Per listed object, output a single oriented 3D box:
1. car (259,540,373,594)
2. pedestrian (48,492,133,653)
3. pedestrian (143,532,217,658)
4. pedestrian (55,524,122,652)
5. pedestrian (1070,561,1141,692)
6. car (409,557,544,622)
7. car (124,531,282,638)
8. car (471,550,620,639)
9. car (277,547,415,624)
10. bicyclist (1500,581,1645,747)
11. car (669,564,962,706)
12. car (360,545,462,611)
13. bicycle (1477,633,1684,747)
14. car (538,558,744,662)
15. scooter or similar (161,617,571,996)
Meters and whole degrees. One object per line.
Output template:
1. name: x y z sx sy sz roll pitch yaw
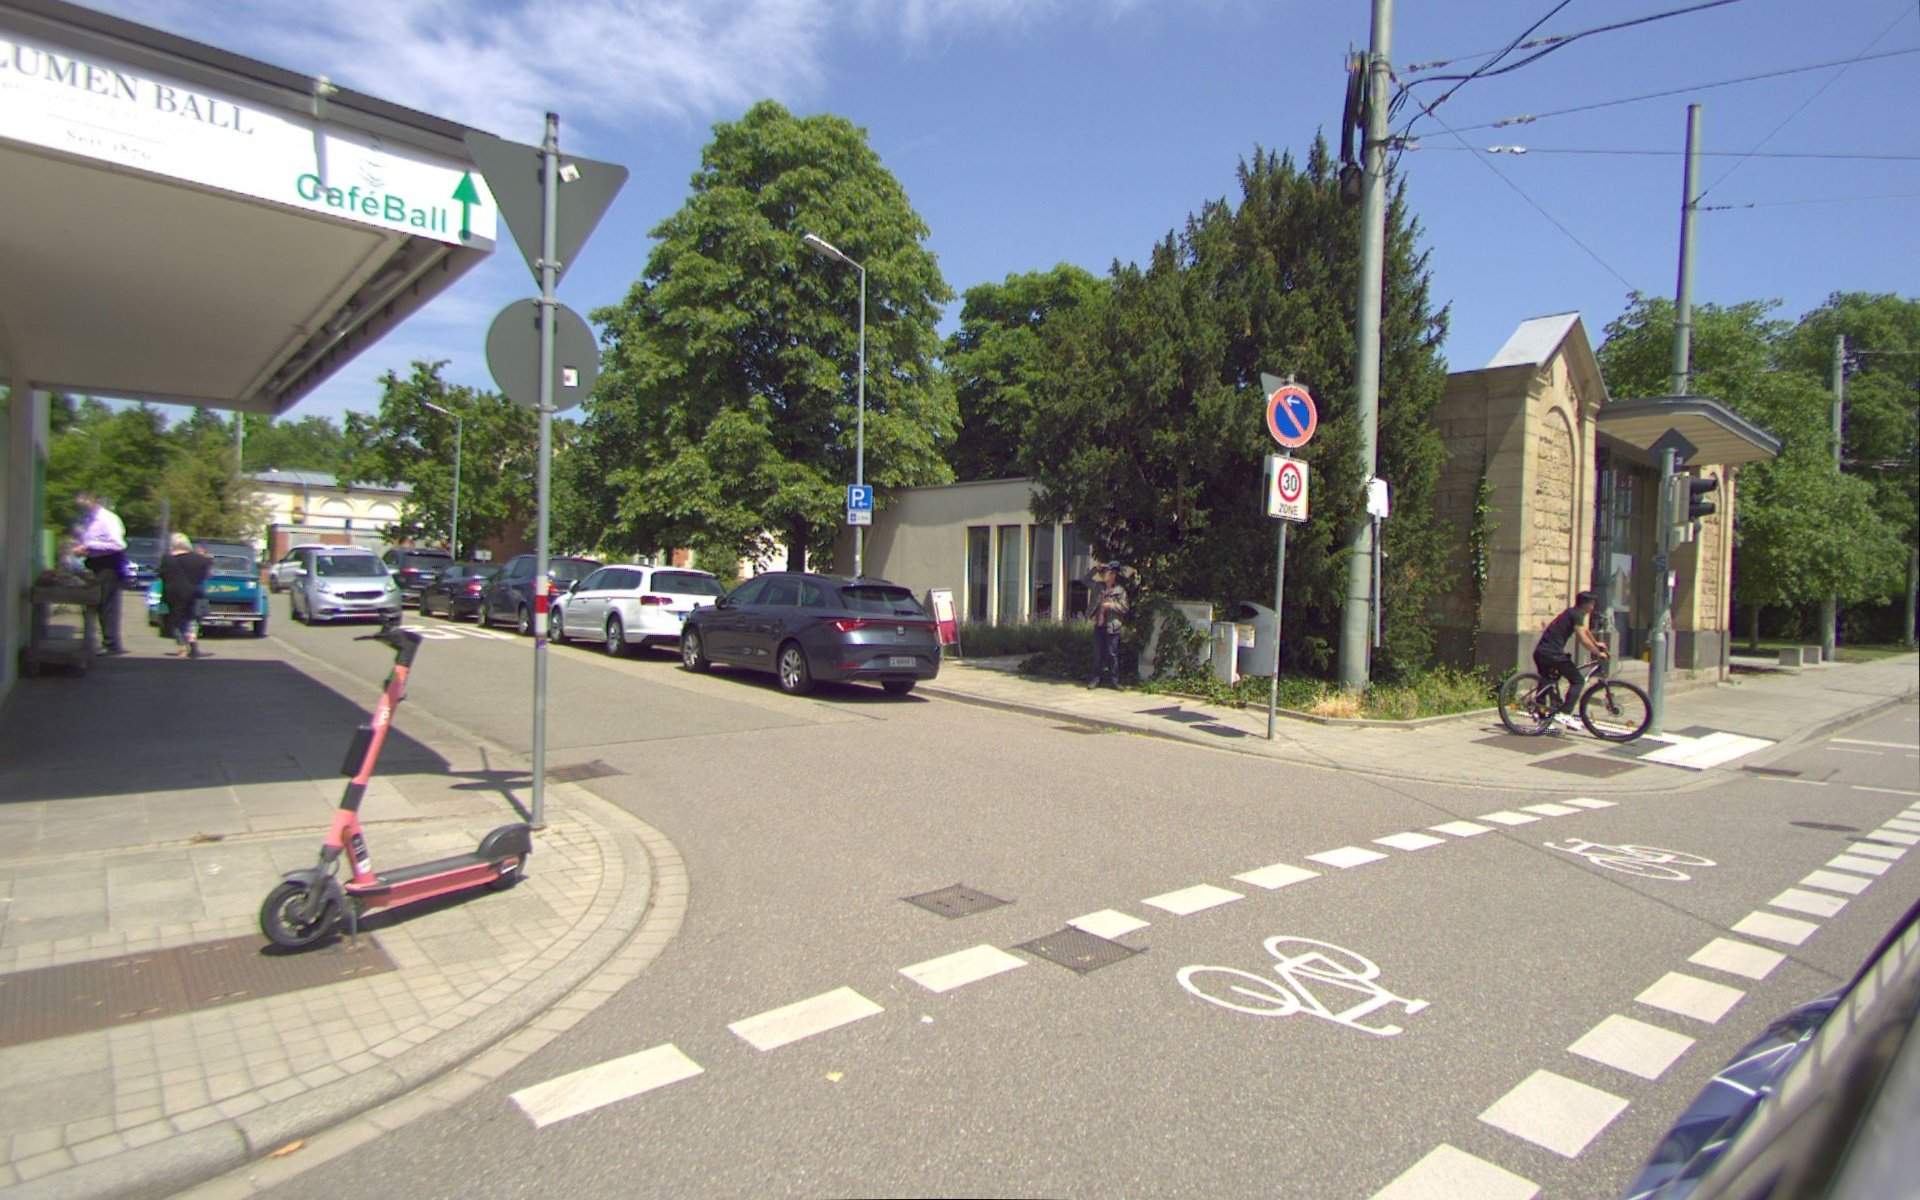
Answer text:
1. car: -24.493 -1.269 38.465 4.629 1.924 1.852 3 1 32
2. pedestrian: -10.817 -0.340 12.619 0.736 1.927 0.858 2 1 -40
3. pedestrian: -10.105 -0.080 13.101 0.694 1.562 0.913 2 1 -40
4. pedestrian: -11.377 -0.157 13.221 0.616 1.632 0.478 2 1 -40
5. pedestrian: 1.857 0.324 12.912 0.618 1.611 0.603 1 1 -40
6. car: -11.752 -0.280 24.444 1.819 1.371 4.287 1 2 -41
7. car: -13.150 -0.301 17.493 3.989 1.638 1.564 3 0 45
8. car: -8.579 -0.145 20.772 1.680 1.582 3.699 4 0 -41
9. car: -13.664 -0.362 22.427 1.965 1.549 3.995 1 2 -41
10. bicyclist: 6.647 0.675 11.030 0.842 1.637 0.837 5 4 -9
11. car: -2.018 0.364 13.067 1.680 1.449 4.235 4 0 -41
12. car: -15.704 -0.661 28.886 1.754 1.719 3.687 1 2 -41
13. bicycle: 6.774 0.977 11.086 1.825 1.014 0.672 5 4 -9
14. car: -5.472 0.111 17.006 1.680 1.449 4.336 4 0 -41
15. scooter or similar: -2.252 0.686 4.036 0.337 1.192 1.455 2 1 25
